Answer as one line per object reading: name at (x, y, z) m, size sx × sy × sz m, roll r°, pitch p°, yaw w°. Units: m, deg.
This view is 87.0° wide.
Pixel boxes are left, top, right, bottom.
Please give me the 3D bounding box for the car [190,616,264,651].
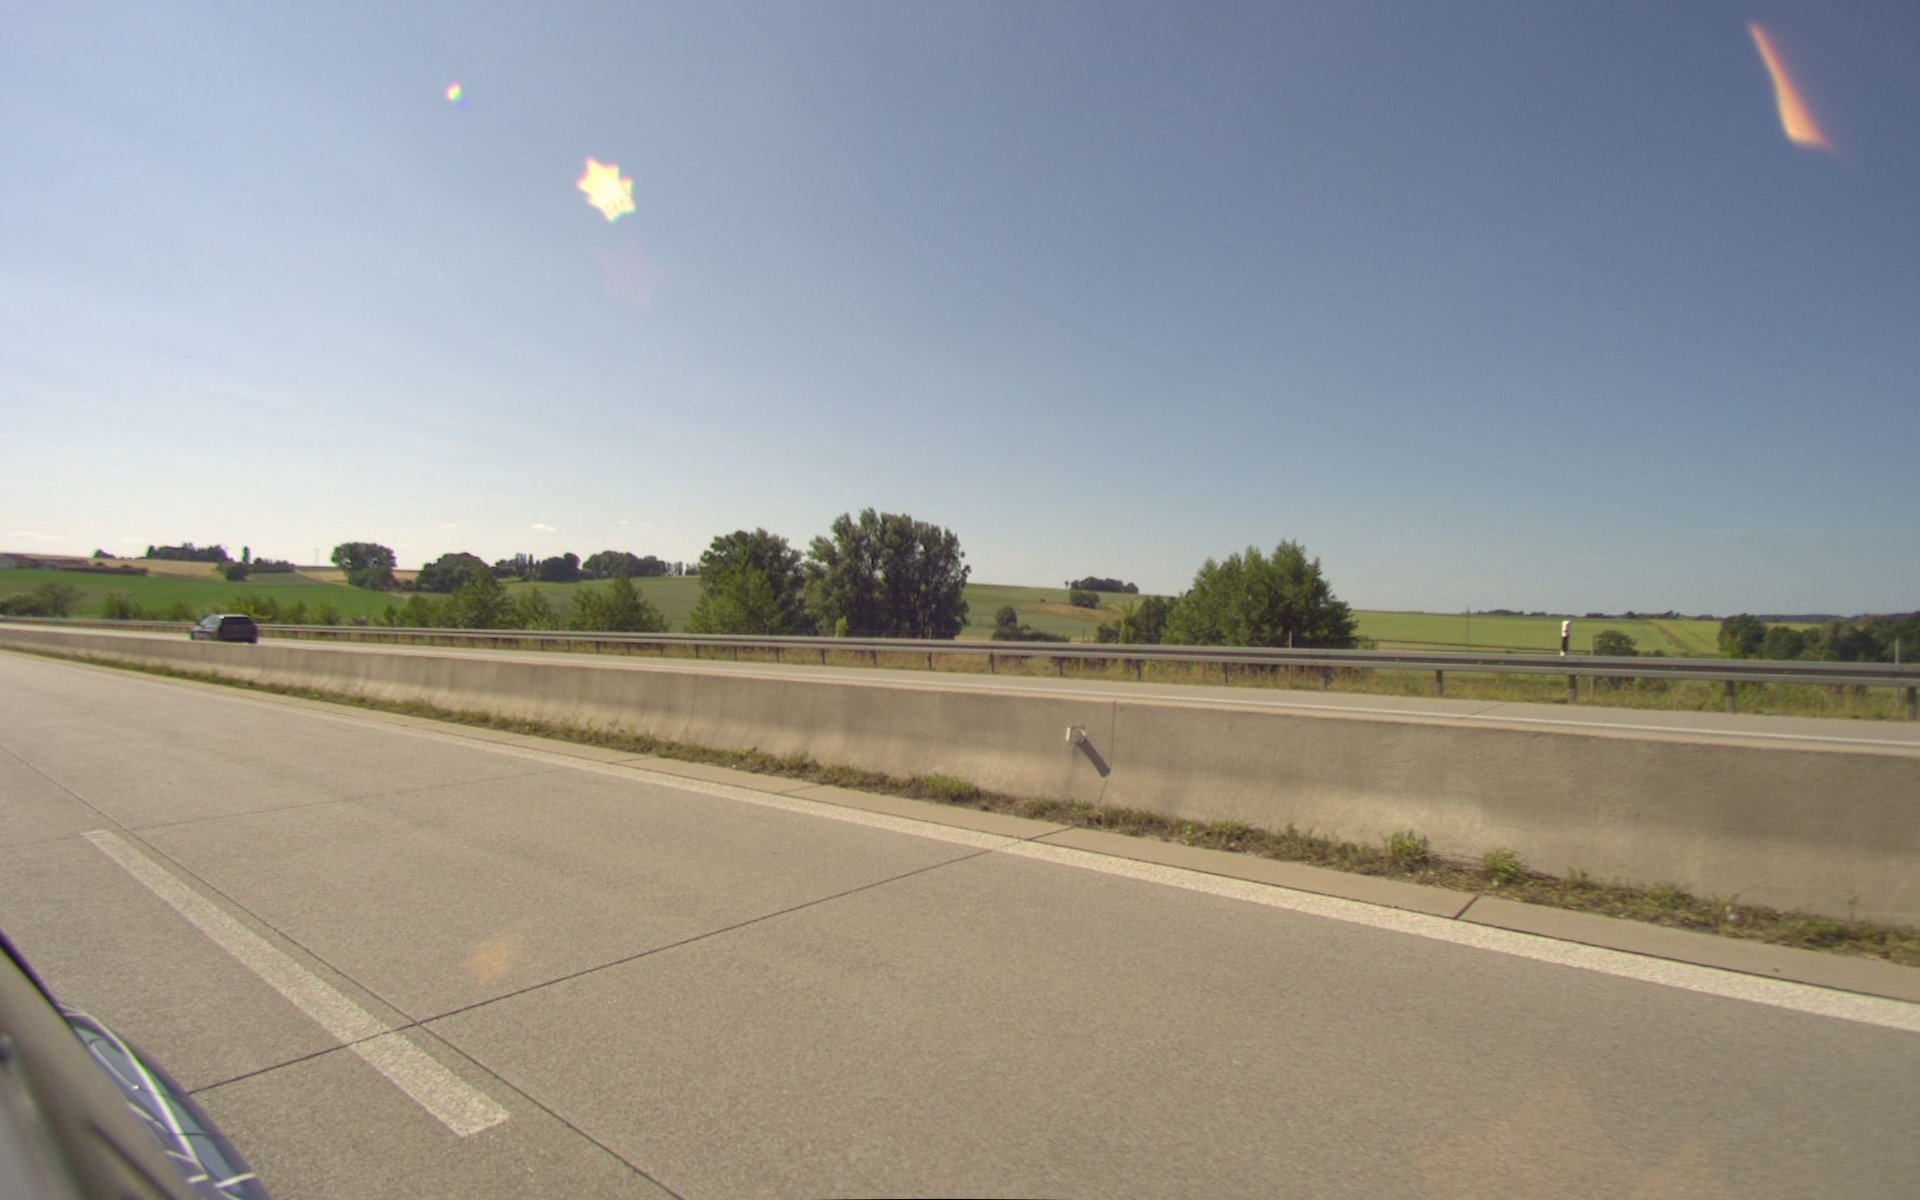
car at (-33.736, 1.515, 46.515) m, size 4.509 × 1.467 × 1.794 m, roll 0°, pitch 0°, yaw 41°
